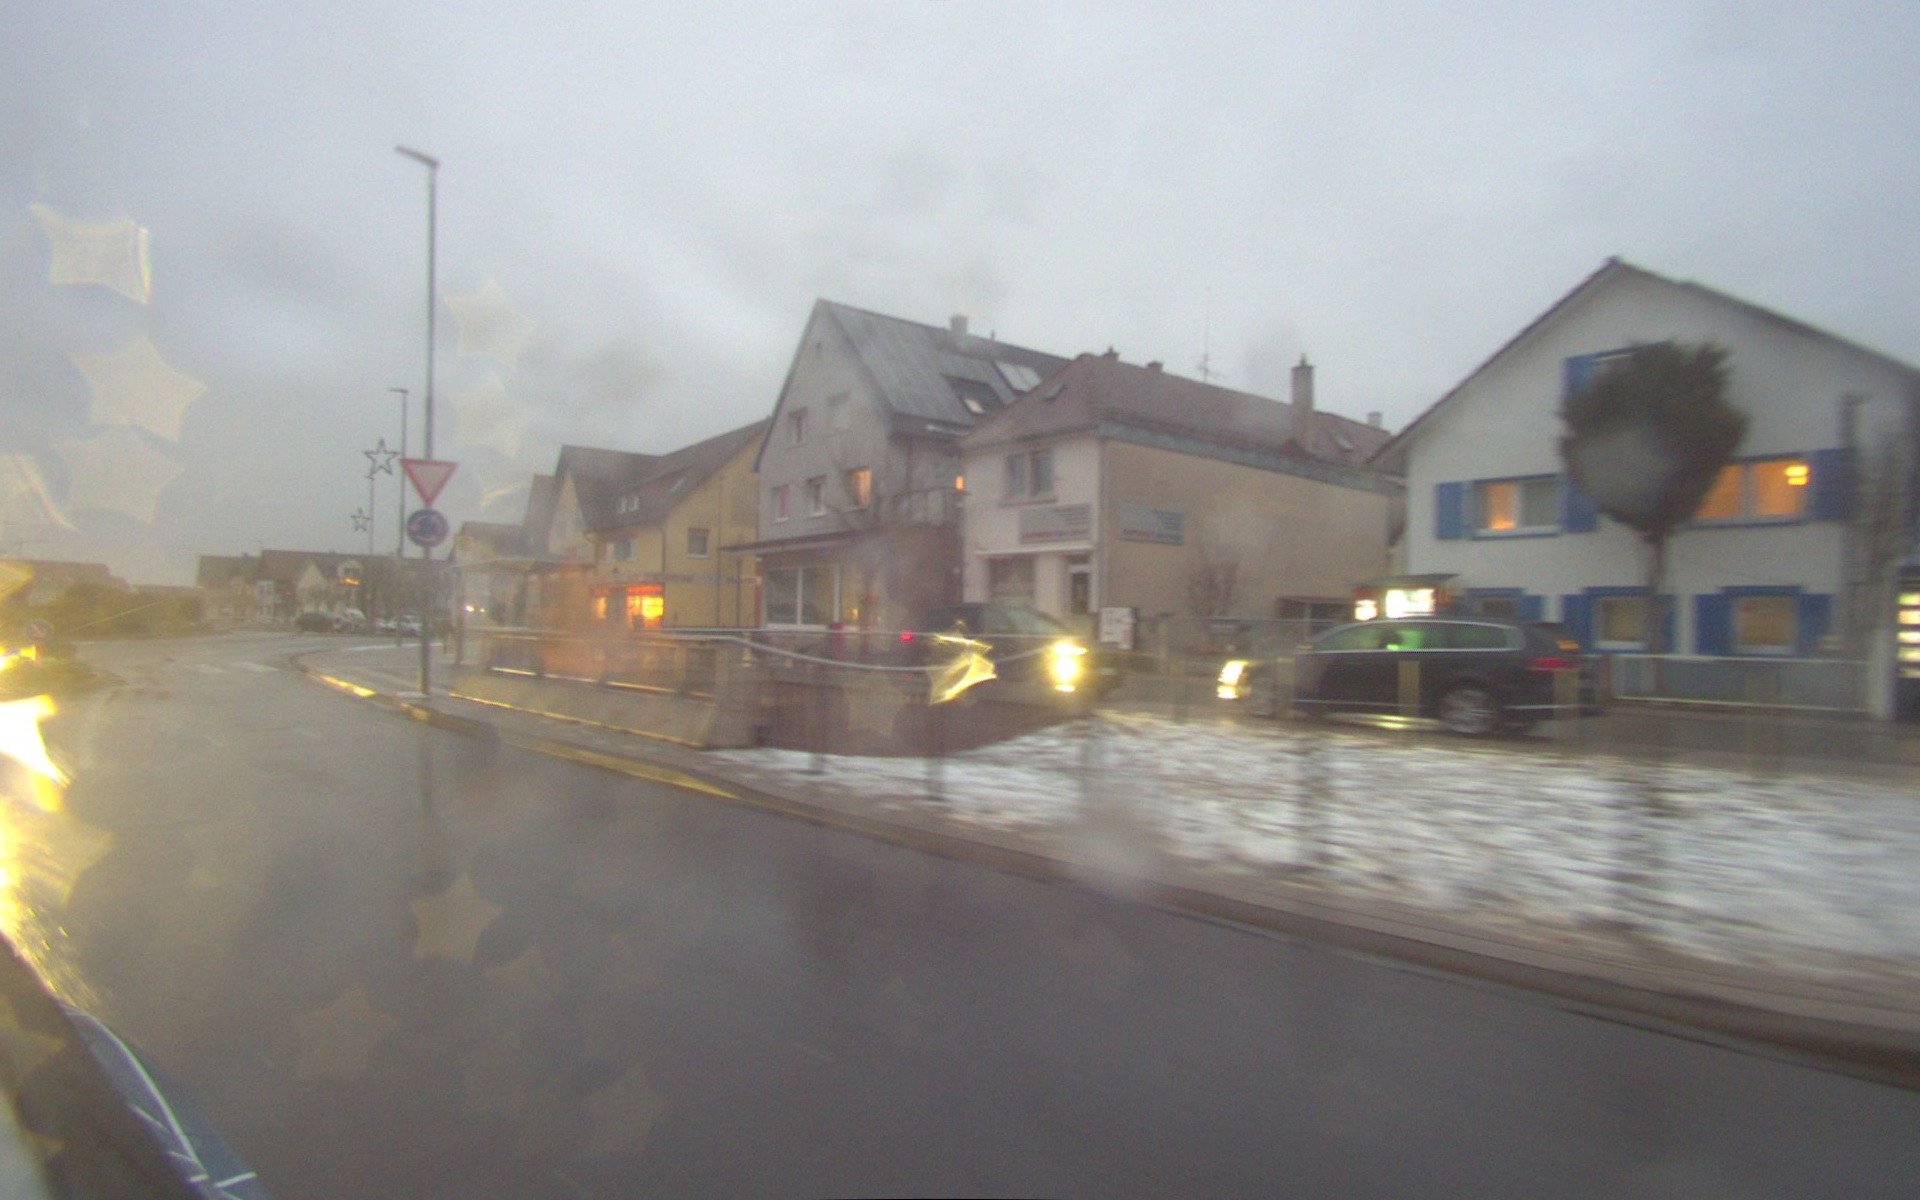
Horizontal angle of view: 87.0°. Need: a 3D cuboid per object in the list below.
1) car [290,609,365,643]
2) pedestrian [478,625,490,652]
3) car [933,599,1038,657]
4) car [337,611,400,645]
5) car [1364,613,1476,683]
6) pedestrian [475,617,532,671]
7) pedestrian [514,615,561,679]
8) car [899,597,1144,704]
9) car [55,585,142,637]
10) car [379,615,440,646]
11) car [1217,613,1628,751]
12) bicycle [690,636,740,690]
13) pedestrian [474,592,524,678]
[{"bbox_3d":[-40.701,1.653,65.152,3.964,2.010,1.962,1,1,16],"label":"car"},{"bbox_3d":[-29.674,2.389,63.118,0.573,1.623,0.501,0,2,-43],"label":"pedestrian"},{"bbox_3d":[0.890,0.941,34.213,3.372,1.867,1.516,1,-1,-39],"label":"car"},{"bbox_3d":[-39.411,1.840,67.468,3.955,2.029,1.907,2,1,29],"label":"car"},{"bbox_3d":[14.419,1.528,31.665,3.525,2.034,1.840,4,-4,-40],"label":"car"},{"bbox_3d":[-10.201,0.980,22.604,0.975,1.167,0.903,0,-2,-38],"label":"pedestrian"},{"bbox_3d":[-8.793,0.961,21.059,0.677,1.281,0.751,-1,-1,-43],"label":"pedestrian"},{"bbox_3d":[0.994,0.914,18.500,1.733,1.714,4.570,4,-4,-41],"label":"car"},{"bbox_3d":[-36.252,0.398,42.703,2.024,2.001,4.551,0,2,-30],"label":"car"},{"bbox_3d":[-37.881,2.086,69.635,3.856,1.895,1.917,2,1,29],"label":"car"},{"bbox_3d":[5.863,0.976,13.284,4.574,1.494,1.781,-2,-3,45],"label":"car"},{"bbox_3d":[-4.940,1.241,20.374,0.463,1.017,1.744,1,-1,-31],"label":"bicycle"},{"bbox_3d":[-9.699,0.725,21.305,0.687,1.755,0.740,-2,-1,43],"label":"pedestrian"}]
